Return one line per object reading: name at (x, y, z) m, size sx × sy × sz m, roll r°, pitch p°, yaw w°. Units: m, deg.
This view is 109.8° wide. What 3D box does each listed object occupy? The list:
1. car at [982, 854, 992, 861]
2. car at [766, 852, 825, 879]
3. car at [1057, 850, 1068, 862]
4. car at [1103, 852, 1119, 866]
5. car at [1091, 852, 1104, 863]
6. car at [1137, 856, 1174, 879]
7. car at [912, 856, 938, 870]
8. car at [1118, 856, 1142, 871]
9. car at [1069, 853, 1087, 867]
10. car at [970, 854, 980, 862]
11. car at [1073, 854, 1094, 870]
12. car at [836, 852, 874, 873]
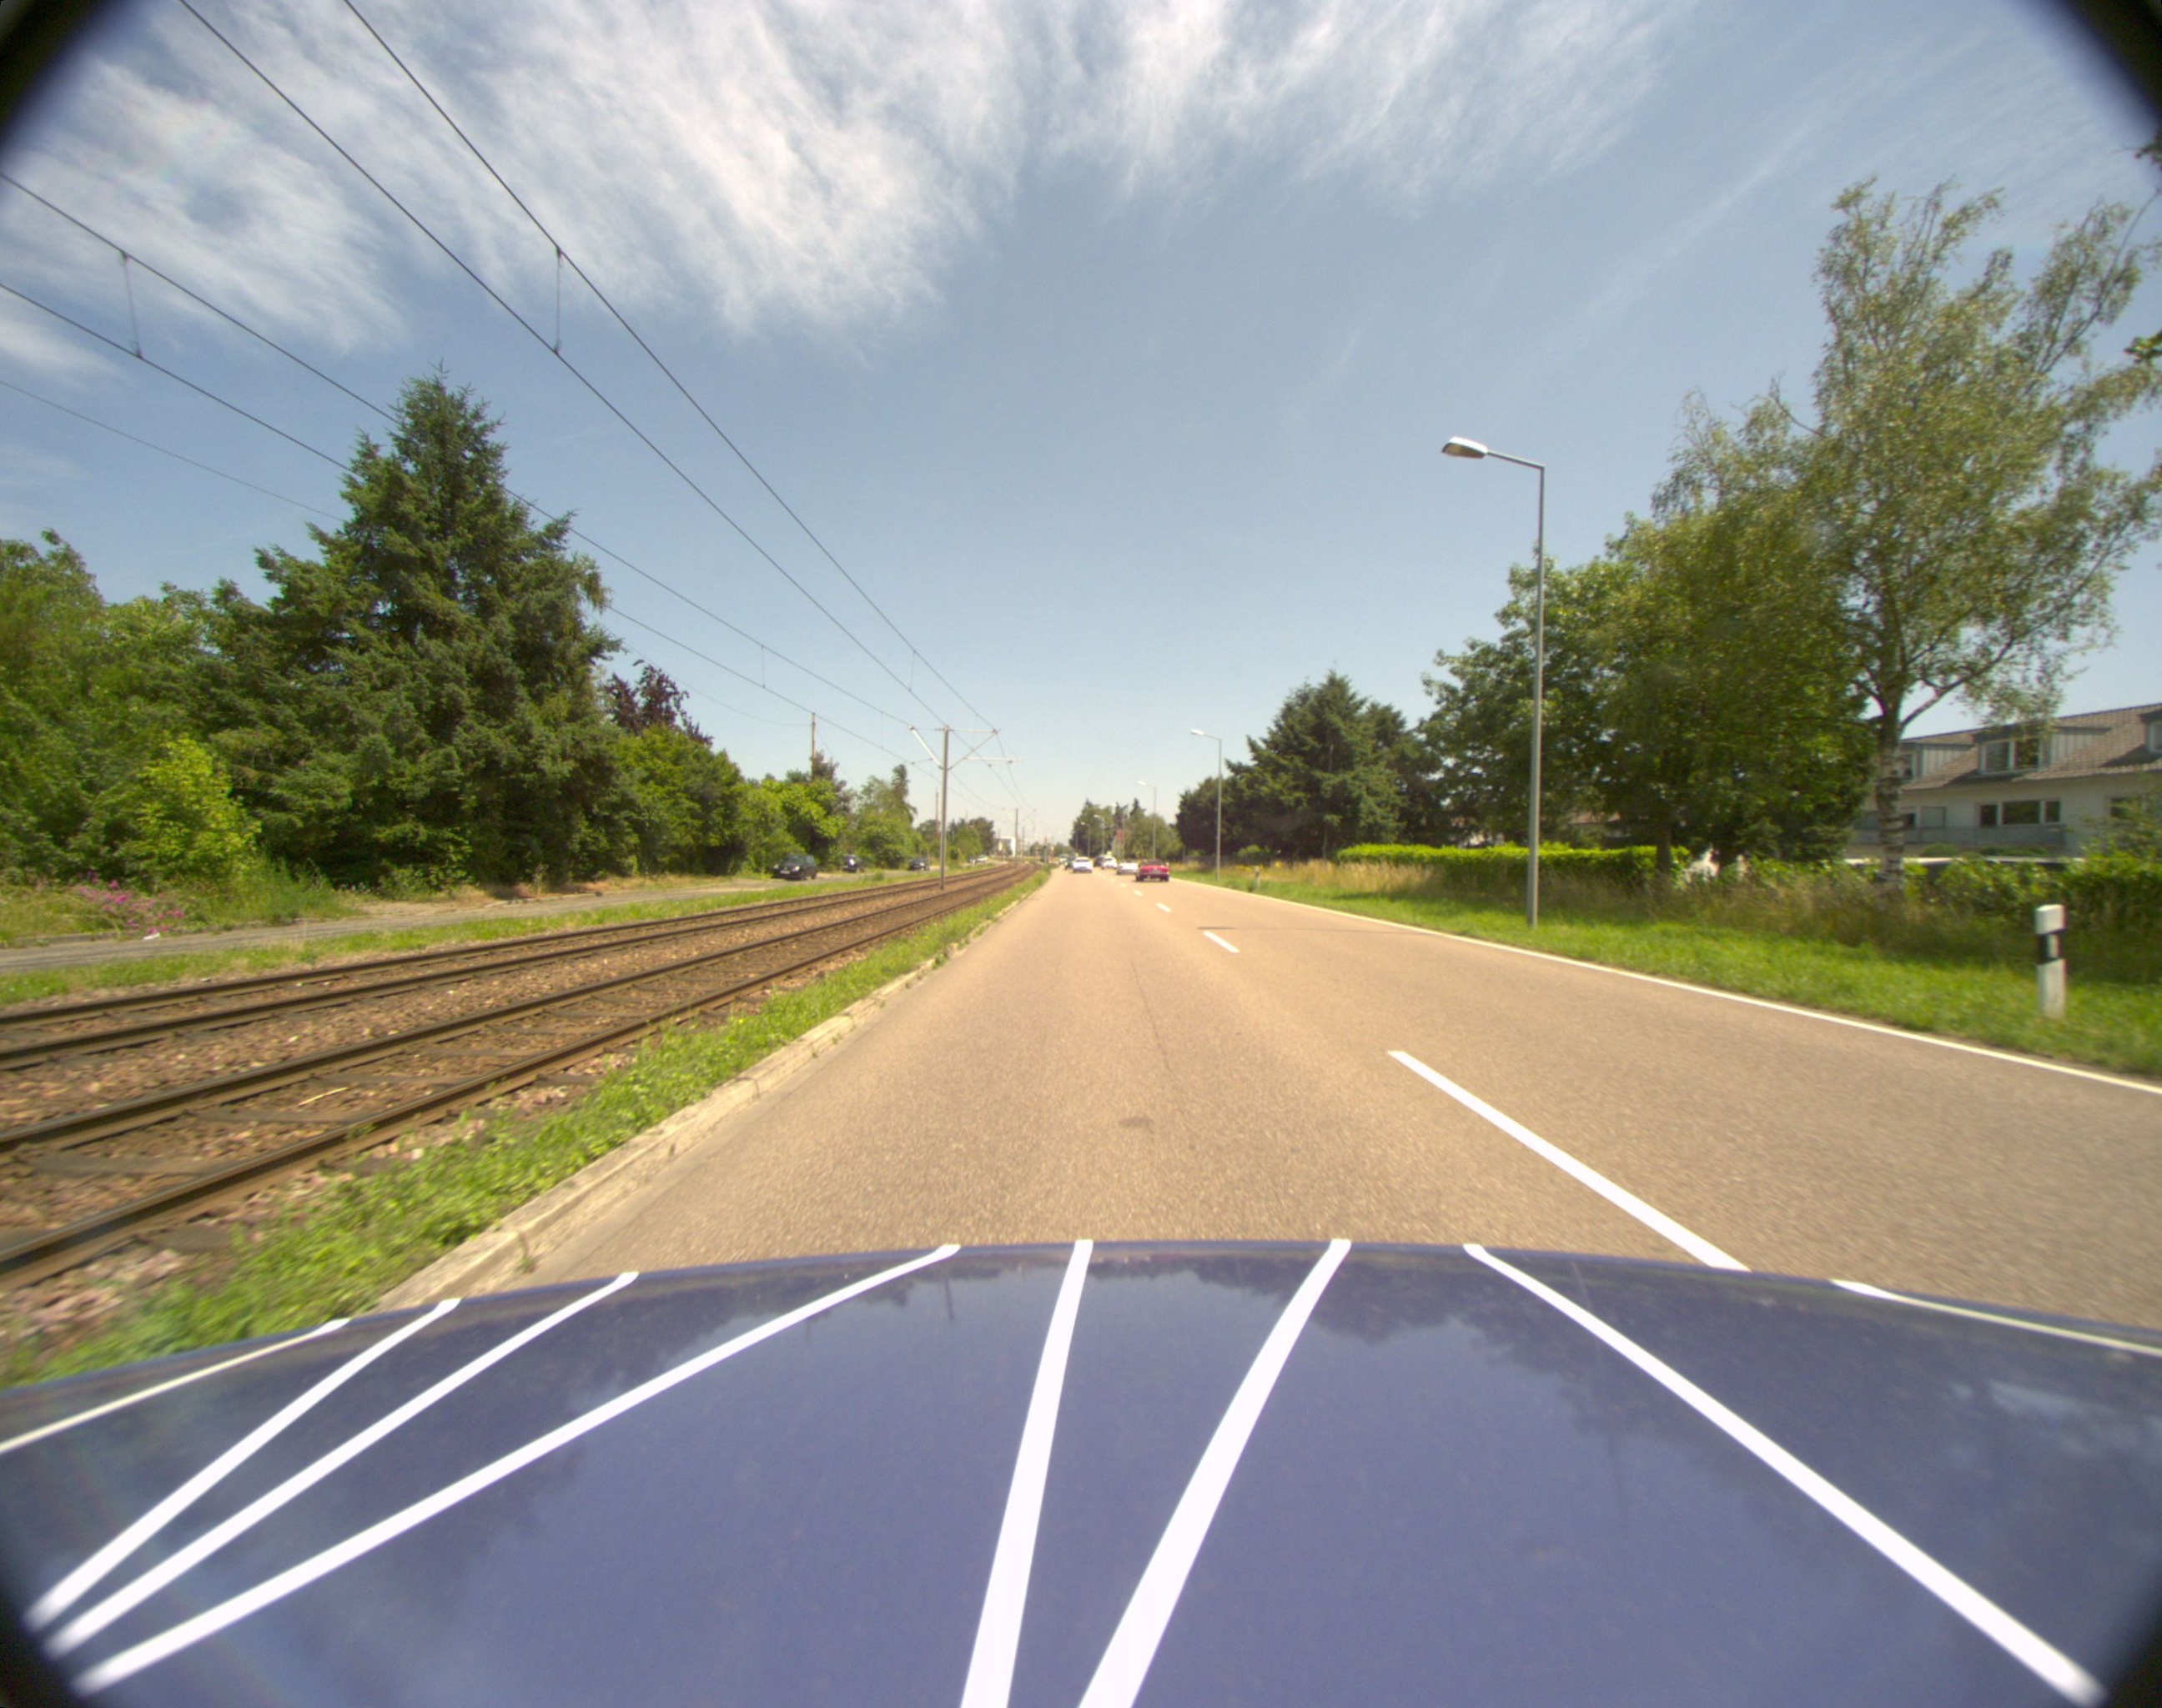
car at (-20.332, 0.719, 164.890) m, size 1.945 × 1.414 × 3.998 m, roll 0°, pitch 0°, yaw -5°
car at (-16.252, 0.631, 43.426) m, size 1.919 × 1.462 × 3.999 m, roll 0°, pitch 0°, yaw -1°
car at (-3.410, 0.359, 138.858) m, size 1.938 × 2.002 × 3.998 m, roll 0°, pitch 0°, yaw -4°
car at (3.523, 0.578, 90.225) m, size 1.751 × 1.494 × 3.706 m, roll 0°, pitch 0°, yaw -1°
car at (2.307, 0.480, 108.405) m, size 1.705 × 1.483 × 4.439 m, roll 0°, pitch 0°, yaw -1°
car at (4.464, 0.811, 46.046) m, size 1.753 × 1.293 × 4.253 m, roll 0°, pitch 0°, yaw 0°
car at (-15.481, 0.887, 75.674) m, size 1.866 × 1.322 × 4.513 m, roll 0°, pitch 0°, yaw -3°
car at (4.119, 0.802, 64.370) m, size 1.686 × 1.242 × 3.908 m, roll 0°, pitch 0°, yaw 0°
car at (-0.350, 0.670, 89.991) m, size 1.999 × 1.576 × 3.999 m, roll 0°, pitch 0°, yaw -2°
car at (-20.438, 0.739, 146.130) m, size 1.624 × 1.414 × 4.870 m, roll 0°, pitch 0°, yaw -4°
car at (0.254, 0.749, 72.642) m, size 1.857 × 1.447 × 3.705 m, roll 0°, pitch 0°, yaw -2°
car at (-17.955, 0.649, 60.592) m, size 1.940 × 1.552 × 4.554 m, roll 0°, pitch 0°, yaw -3°
